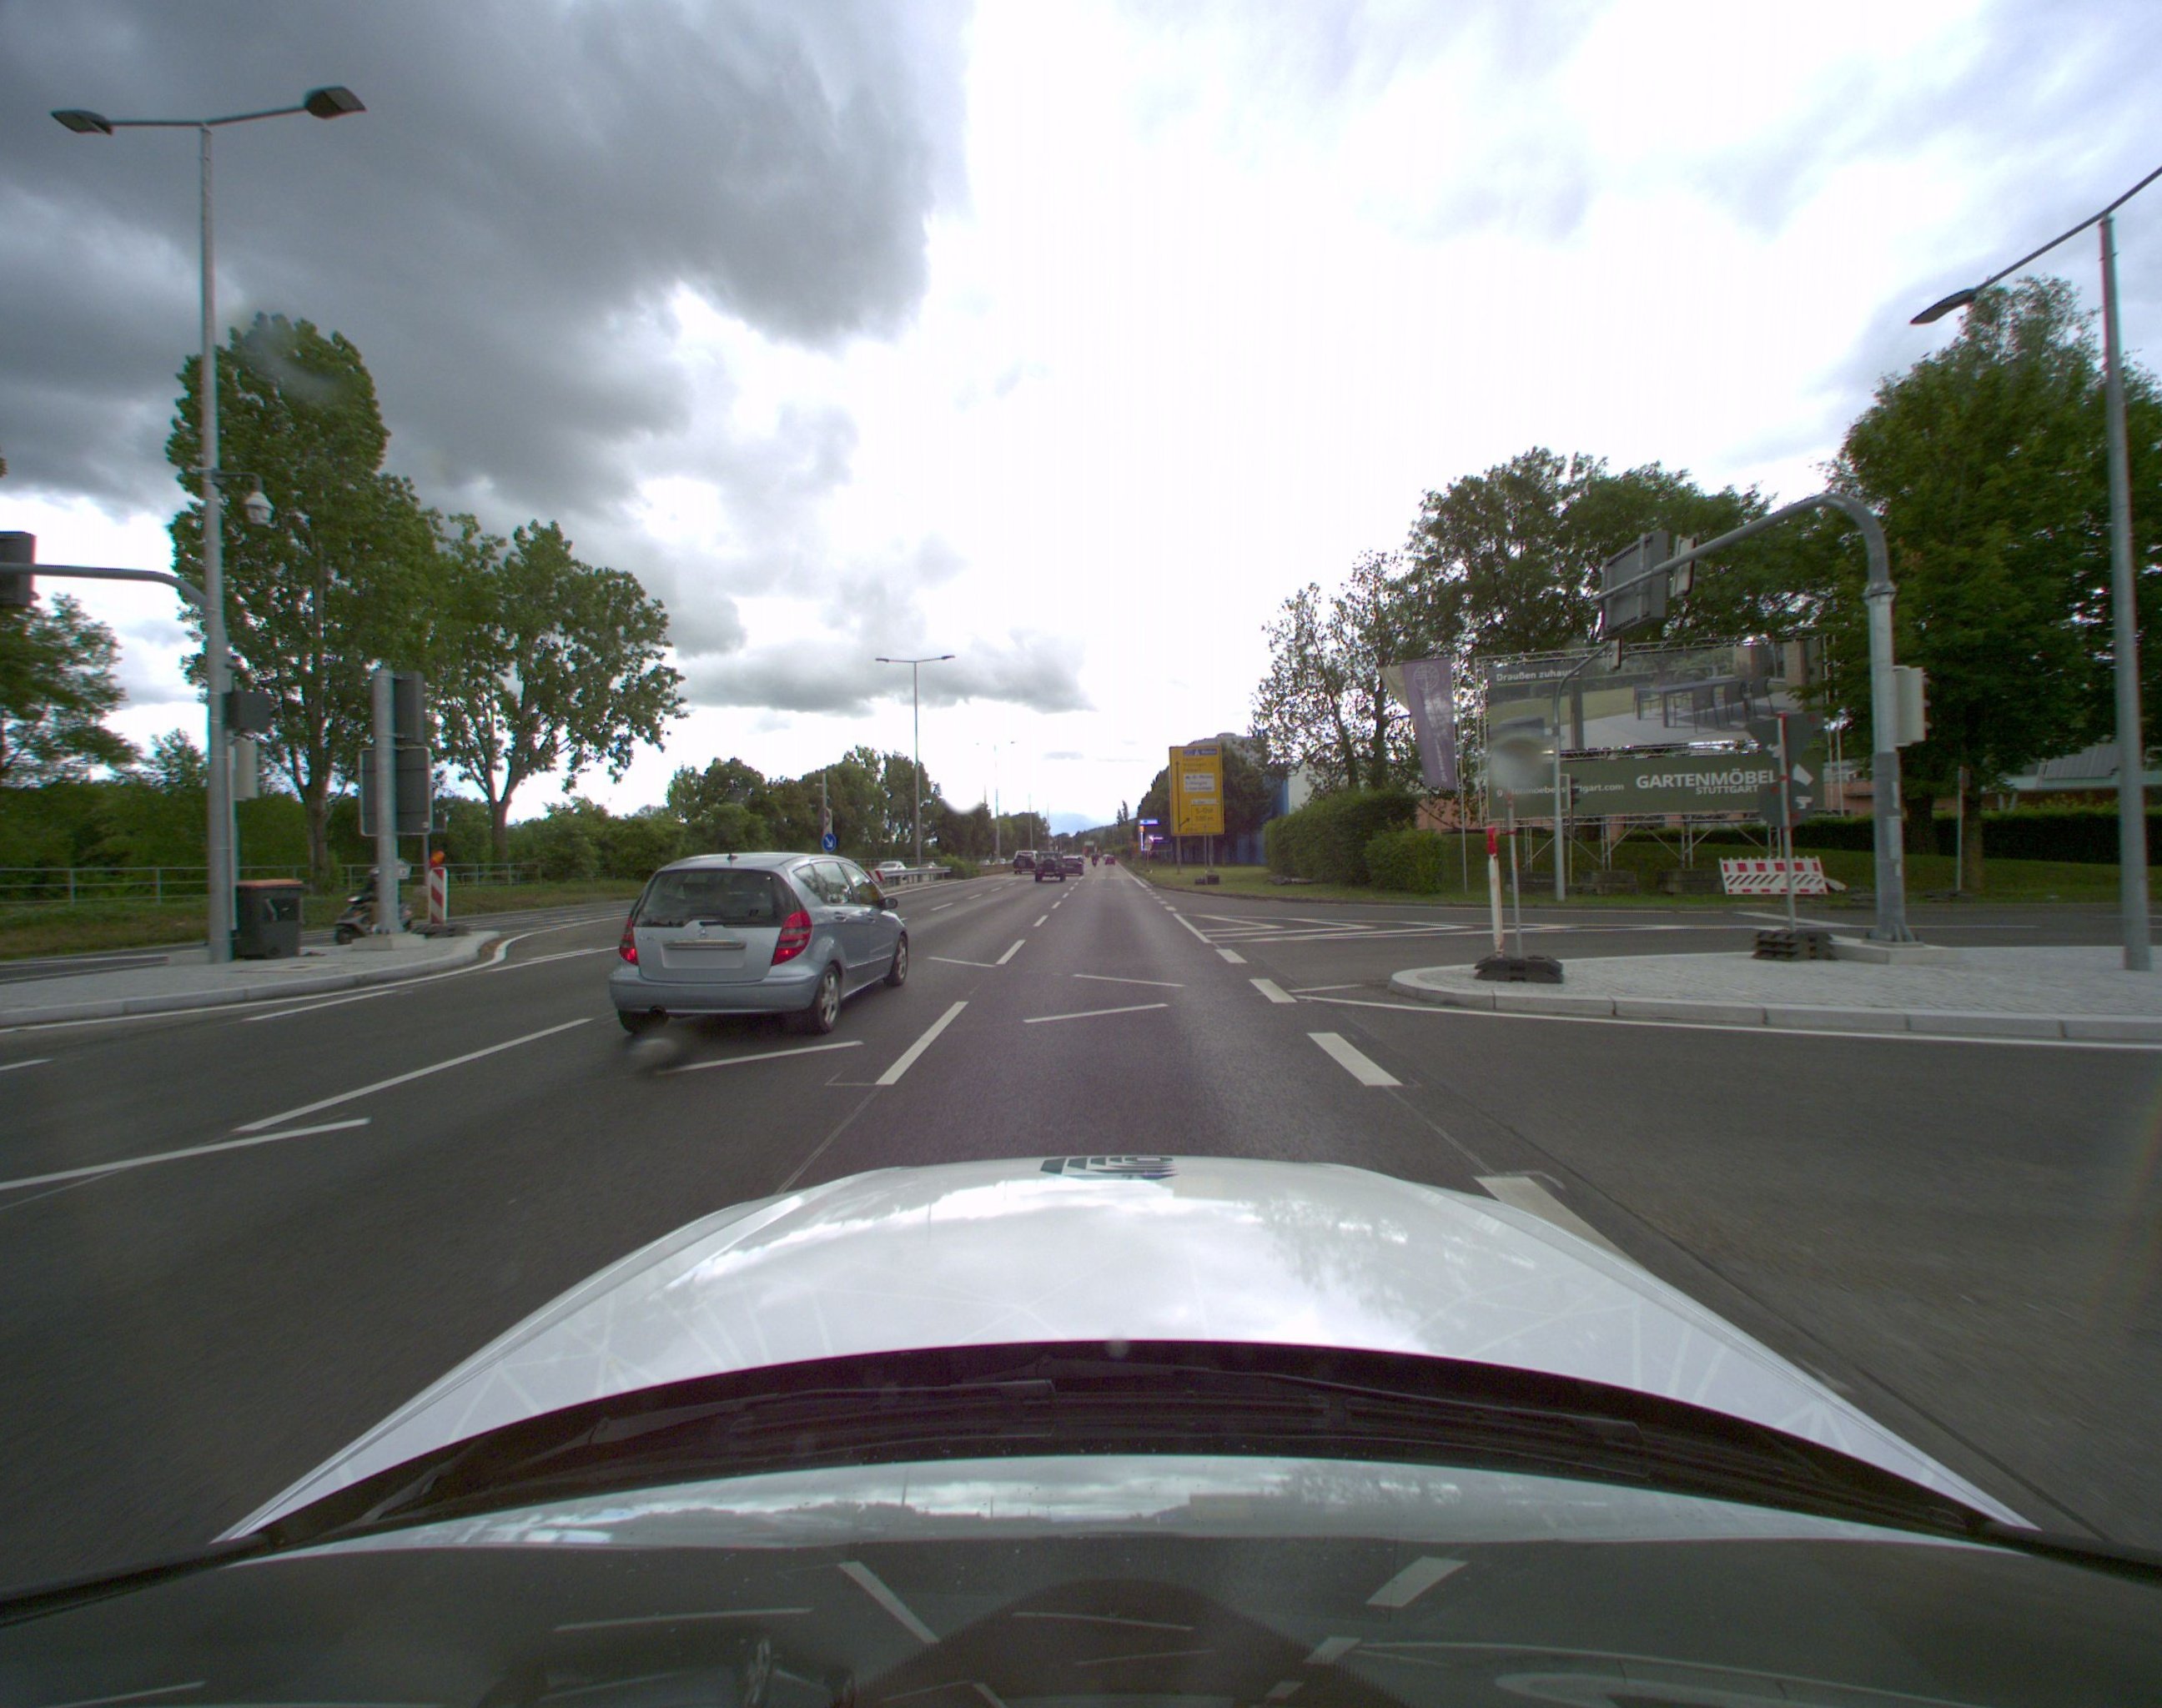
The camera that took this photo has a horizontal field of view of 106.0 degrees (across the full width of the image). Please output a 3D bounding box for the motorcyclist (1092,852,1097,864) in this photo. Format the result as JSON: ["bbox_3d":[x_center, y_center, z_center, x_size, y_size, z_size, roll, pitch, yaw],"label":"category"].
[{"bbox_3d":[1.772,0.563,107.515,0.682,1.610,0.846,1,1,3],"label":"motorcyclist"}]

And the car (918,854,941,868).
[{"bbox_3d":[-18.723,0.836,100.555,1.986,1.640,4.002,1,1,2],"label":"car"}]

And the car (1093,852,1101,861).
[{"bbox_3d":[3.972,0.613,204.755,1.986,2.013,4.002,1,1,2],"label":"car"}]

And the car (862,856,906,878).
[{"bbox_3d":[-14.557,0.931,60.503,1.986,1.493,4.807,1,1,2],"label":"car"}]

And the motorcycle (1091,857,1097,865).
[{"bbox_3d":[1.762,0.962,107.480,0.703,1.040,2.029,1,1,3],"label":"motorcycle"}]

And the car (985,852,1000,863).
[{"bbox_3d":[-14.673,0.592,134.850,1.986,1.640,4.002,1,1,2],"label":"car"}]

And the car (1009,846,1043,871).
[{"bbox_3d":[-4.442,0.348,66.454,2.206,1.925,5.005,1,1,2],"label":"car"}]

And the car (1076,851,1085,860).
[{"bbox_3d":[-0.042,0.376,192.083,1.986,2.013,4.002,1,1,2],"label":"car"}]

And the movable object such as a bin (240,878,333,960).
[{"bbox_3d":[-10.975,0.884,11.271,0.539,1.059,0.741,1,1,1],"label":"movable object such as a bin"}]

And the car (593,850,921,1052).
[{"bbox_3d":[-2.948,0.757,8.419,1.704,1.530,4.001,1,1,1],"label":"car"}]

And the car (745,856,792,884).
[{"bbox_3d":[-17.367,0.863,45.353,1.467,1.463,2.738,1,1,1],"label":"car"}]

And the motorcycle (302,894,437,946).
[{"bbox_3d":[-15.190,1.384,17.494,0.909,0.989,2.164,1,-2,2],"label":"motorcycle"}]

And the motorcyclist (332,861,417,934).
[{"bbox_3d":[-15.202,0.929,17.546,0.909,1.522,0.981,1,-2,1],"label":"motorcyclist"}]

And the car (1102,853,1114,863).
[{"bbox_3d":[4.476,0.598,136.408,1.987,1.552,4.000,1,1,0],"label":"car"}]

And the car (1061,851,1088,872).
[{"bbox_3d":[-0.469,0.508,60.835,1.833,1.464,4.001,1,1,1],"label":"car"}]

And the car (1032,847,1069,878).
[{"bbox_3d":[-1.719,0.434,47.219,1.901,1.684,4.001,1,1,1],"label":"car"}]
